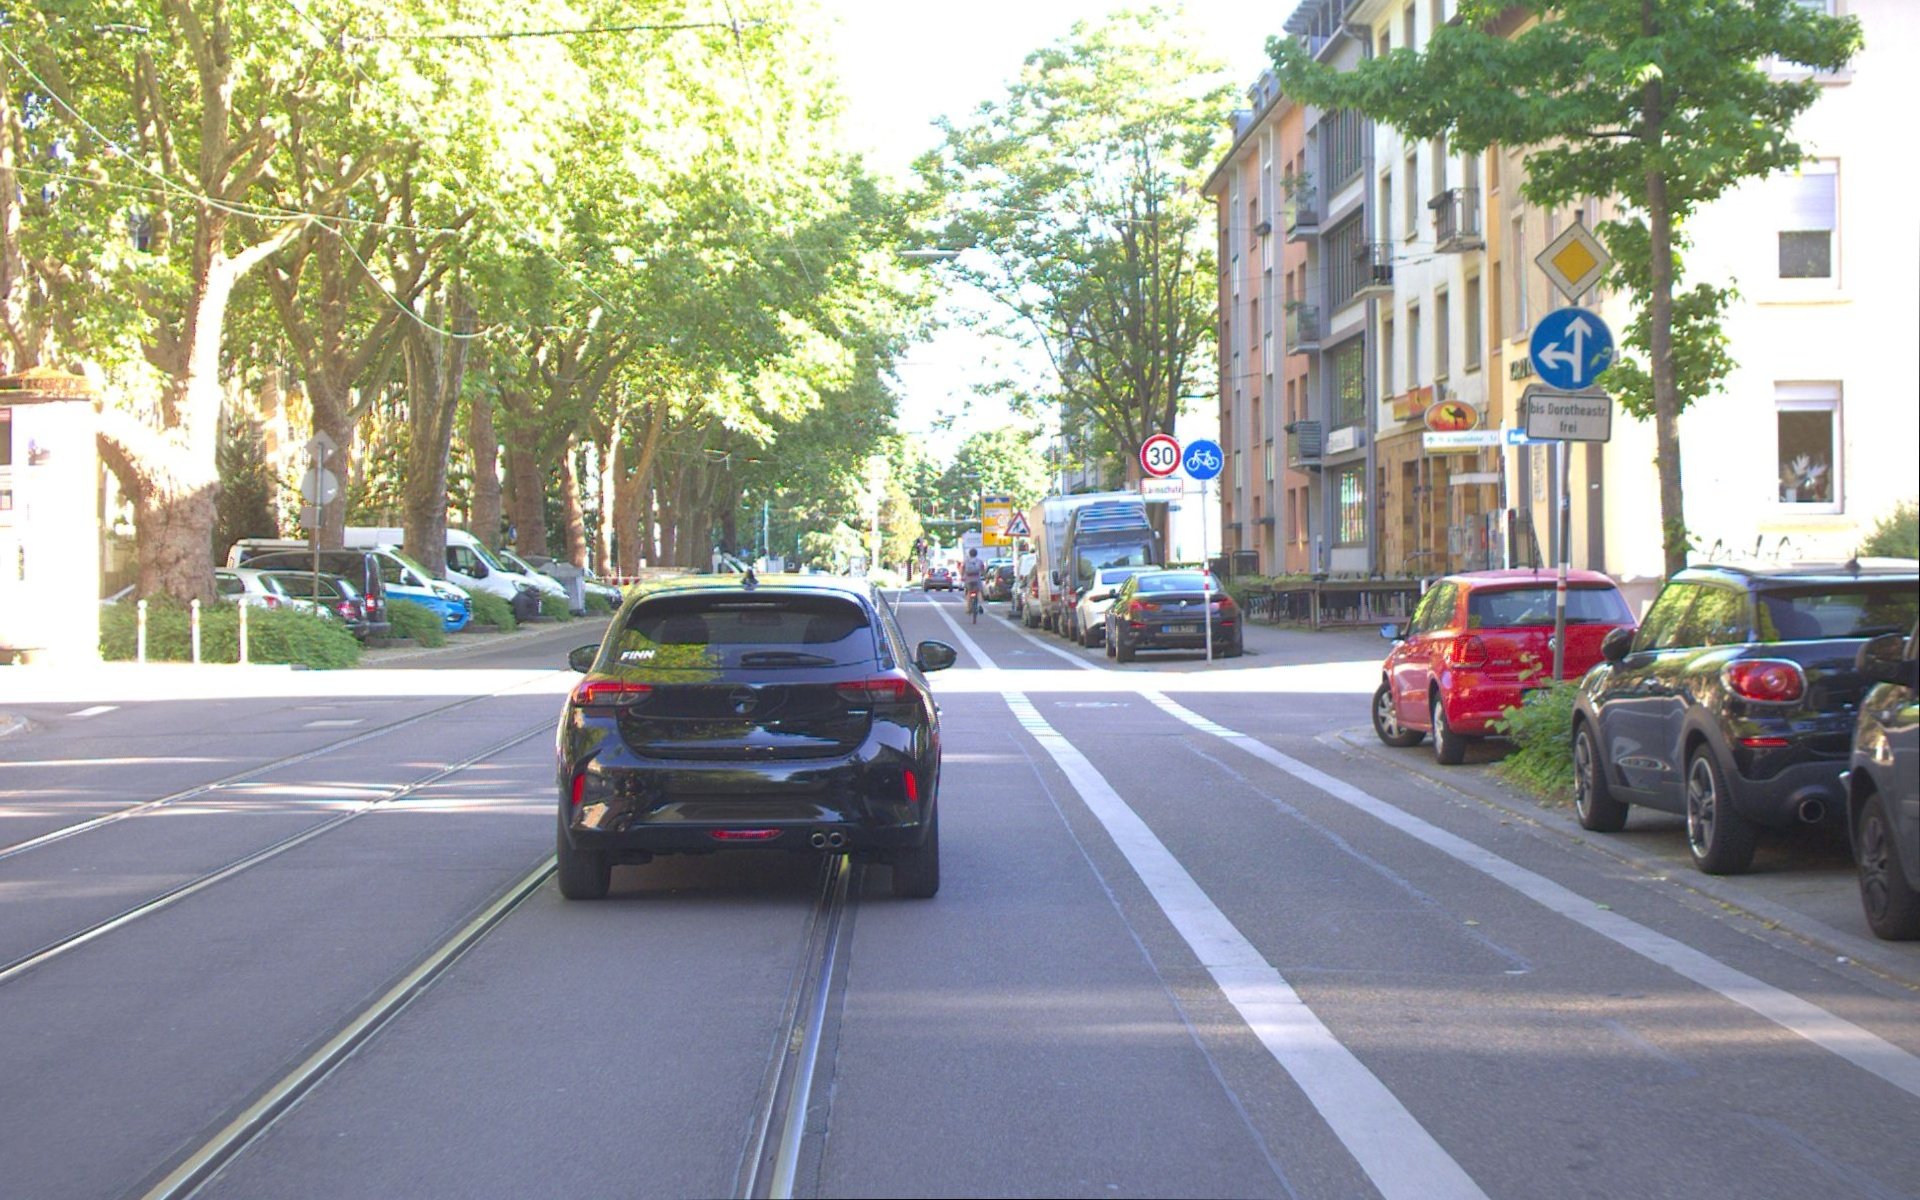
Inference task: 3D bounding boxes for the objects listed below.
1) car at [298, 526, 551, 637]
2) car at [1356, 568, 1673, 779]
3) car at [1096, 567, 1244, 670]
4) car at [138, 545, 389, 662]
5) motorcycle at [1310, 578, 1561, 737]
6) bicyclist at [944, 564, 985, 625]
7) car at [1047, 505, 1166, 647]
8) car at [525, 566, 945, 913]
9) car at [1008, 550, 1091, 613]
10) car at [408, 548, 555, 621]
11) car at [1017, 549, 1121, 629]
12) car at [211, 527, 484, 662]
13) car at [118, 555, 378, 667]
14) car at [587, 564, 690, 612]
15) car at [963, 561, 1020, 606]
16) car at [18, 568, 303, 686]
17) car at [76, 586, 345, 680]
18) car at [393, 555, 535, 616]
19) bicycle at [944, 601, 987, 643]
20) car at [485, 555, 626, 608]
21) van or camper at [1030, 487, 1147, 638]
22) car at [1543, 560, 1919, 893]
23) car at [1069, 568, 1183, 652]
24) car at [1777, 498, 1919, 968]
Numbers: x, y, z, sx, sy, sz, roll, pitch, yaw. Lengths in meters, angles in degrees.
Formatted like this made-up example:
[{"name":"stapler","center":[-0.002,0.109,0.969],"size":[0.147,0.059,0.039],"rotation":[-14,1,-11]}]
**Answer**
[{"name":"car","center":[-12.814,-0.449,82.465],"size":[5.639,2.584,2.196],"rotation":[0,0,3]},{"name":"car","center":[4.264,0.520,26.980],"size":[1.702,1.418,3.978],"rotation":[-4,0,-1]},{"name":"car","center":[3.202,0.258,53.164],"size":[1.884,1.429,4.530],"rotation":[-3,0,-1]},{"name":"car","center":[-12.733,0.065,63.055],"size":[4.298,1.834,1.783],"rotation":[-4,0,-8]},{"name":"motorcycle","center":[4.326,0.522,31.235],"size":[2.091,1.354,0.923],"rotation":[-2,-1,16]},{"name":"bicyclist","center":[0.110,-0.136,85.893],"size":[0.958,1.494,1.094],"rotation":[0,0,-2]},{"name":"car","center":[2.957,-0.512,70.457],"size":[2.085,2.763,4.698],"rotation":[-2,1,-1]},{"name":"car","center":[-0.972,0.575,16.476],"size":[1.763,1.455,3.950],"rotation":[0,0,-1]},{"name":"car","center":[2.703,-0.574,105.400],"size":[2.254,1.834,5.531],"rotation":[-2,0,-1]},{"name":"car","center":[-13.340,-0.429,95.677],"size":[3.986,2.007,2.001],"rotation":[0,0,-9]},{"name":"car","center":[2.630,-0.274,84.222],"size":[2.254,1.834,5.531],"rotation":[-2,0,-1]},{"name":"car","center":[-12.383,-0.114,69.753],"size":[5.036,2.366,2.081],"rotation":[-4,0,0]},{"name":"car","center":[-12.528,0.193,60.728],"size":[4.298,1.669,1.783],"rotation":[-4,0,-8]},{"name":"car","center":[-13.560,-0.508,145.155],"size":[3.988,2.007,2.000],"rotation":[0,0,6]},{"name":"car","center":[1.335,-0.723,147.269],"size":[2.254,1.834,5.531],"rotation":[-2,0,-1]},{"name":"car","center":[-12.986,0.429,56.047],"size":[4.298,1.588,1.783],"rotation":[-4,0,-8]},{"name":"car","center":[-12.754,0.549,58.695],"size":[4.298,1.286,1.711],"rotation":[-4,0,-8]},{"name":"car","center":[-14.898,-0.443,103.241],"size":[4.175,1.788,2.001],"rotation":[0,0,-9]},{"name":"bicycle","center":[0.123,0.537,85.903],"size":[0.968,0.995,2.583],"rotation":[0,0,-2]},{"name":"car","center":[-12.812,-0.585,108.817],"size":[4.353,1.659,2.001],"rotation":[0,0,-9]},{"name":"van or camper","center":[2.830,-0.835,77.020],"size":[2.254,3.205,5.531],"rotation":[-2,0,-1]},{"name":"car","center":[4.397,0.578,18.263],"size":[1.712,1.509,4.037],"rotation":[-3,0,-2]},{"name":"car","center":[3.022,0.201,63.258],"size":[1.803,1.429,4.000],"rotation":[-2,-1,-1]},{"name":"car","center":[4.529,0.488,12.576],"size":[1.885,1.760,4.678],"rotation":[-1,1,-1]}]
